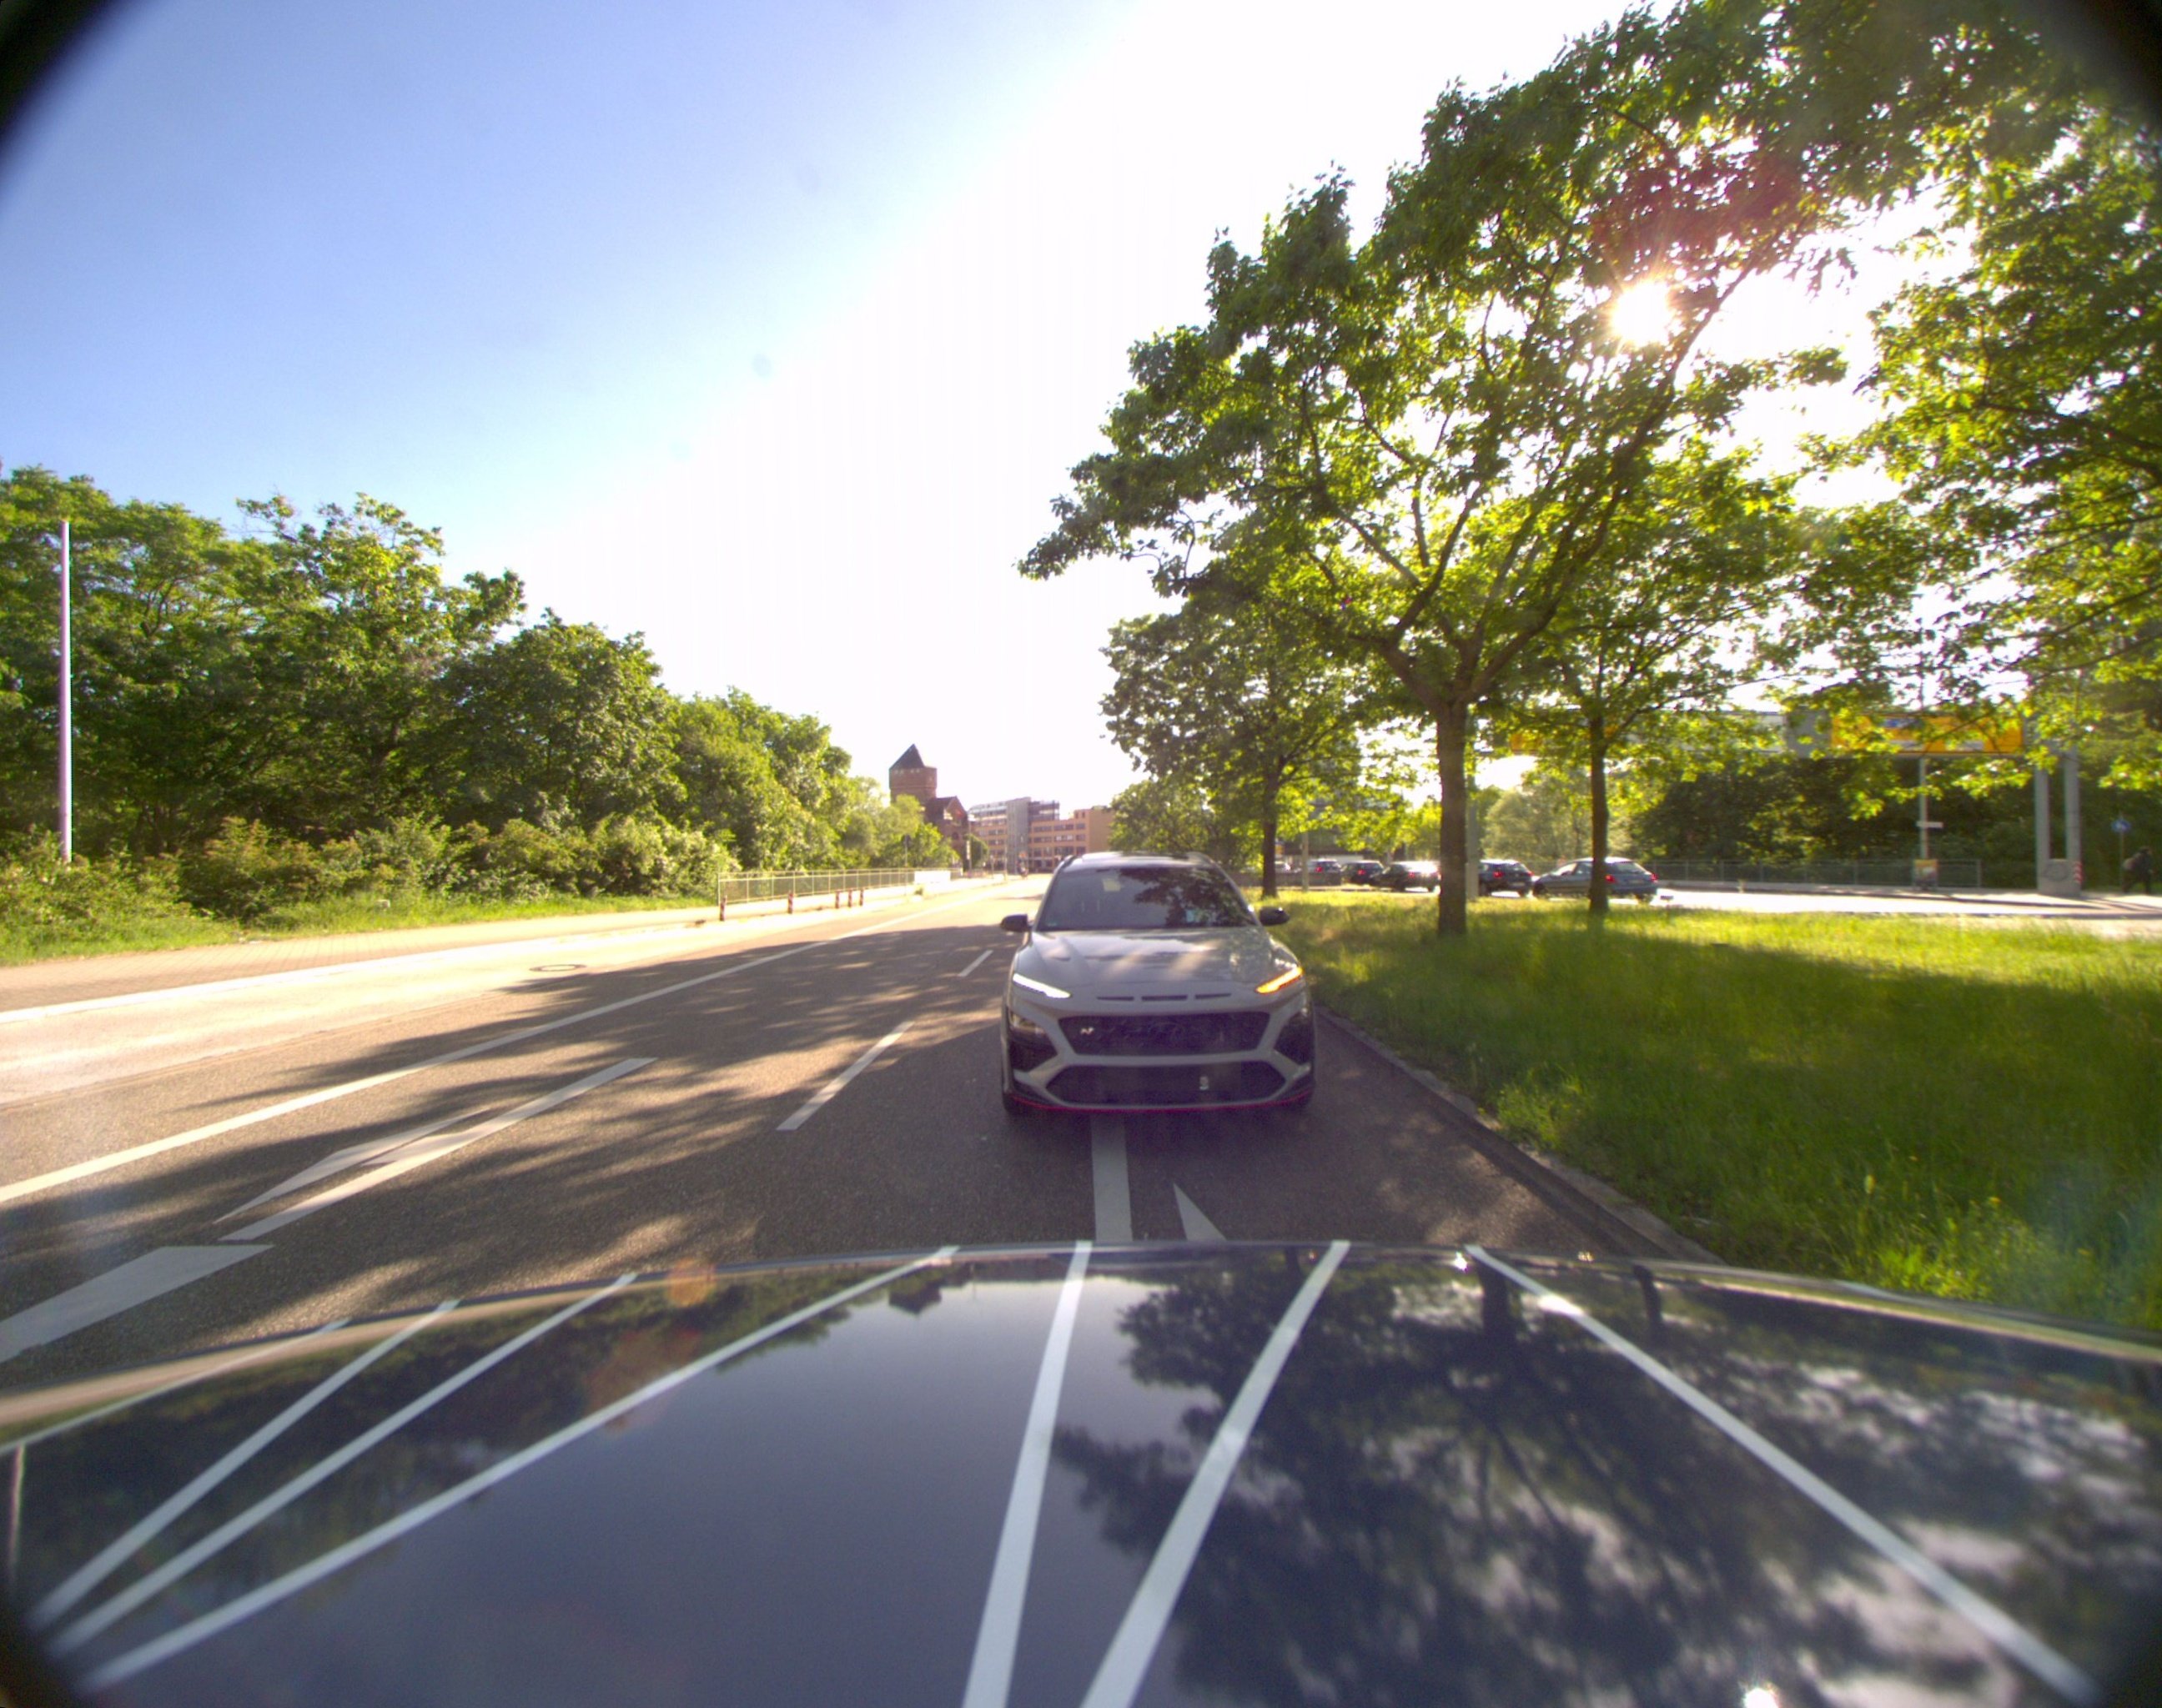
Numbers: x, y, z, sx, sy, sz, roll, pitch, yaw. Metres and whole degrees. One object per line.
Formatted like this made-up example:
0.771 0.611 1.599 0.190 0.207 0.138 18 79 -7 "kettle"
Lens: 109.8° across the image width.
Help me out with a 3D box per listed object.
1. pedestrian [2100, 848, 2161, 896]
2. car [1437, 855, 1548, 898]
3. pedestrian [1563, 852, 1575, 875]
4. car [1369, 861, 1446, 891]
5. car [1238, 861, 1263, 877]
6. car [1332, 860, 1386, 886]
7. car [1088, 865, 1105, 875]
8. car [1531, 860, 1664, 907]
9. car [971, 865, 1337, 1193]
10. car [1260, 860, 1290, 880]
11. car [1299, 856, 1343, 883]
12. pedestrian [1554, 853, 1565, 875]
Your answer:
36.402 0.623 26.338 0.915 1.620 0.987 -1 0 -10 "pedestrian"
16.180 0.848 30.149 1.875 1.541 4.221 -1 0 -4 "car"
33.276 0.644 51.808 0.421 1.490 0.545 -1 0 -7 "pedestrian"
15.467 1.000 36.222 1.623 1.305 4.066 -1 0 -6 "car"
13.925 1.284 62.429 1.199 1.252 2.768 -1 -2 -6 "car"
15.143 1.036 41.478 1.481 1.331 3.202 -1 -1 -6 "car"
2.575 2.603 124.909 1.675 1.463 4.157 -1 0 19 "car"
16.376 0.884 24.307 1.561 1.355 3.608 -1 -1 -6 "car"
0.381 0.883 5.687 1.752 1.523 3.988 -1 0 1 "car"
14.312 1.211 56.130 1.228 1.331 2.882 -1 -3 -6 "car"
14.962 0.995 47.546 1.450 1.549 3.202 -1 -2 -6 "car"
32.768 0.663 52.038 0.421 1.490 0.545 -1 0 -7 "pedestrian"
